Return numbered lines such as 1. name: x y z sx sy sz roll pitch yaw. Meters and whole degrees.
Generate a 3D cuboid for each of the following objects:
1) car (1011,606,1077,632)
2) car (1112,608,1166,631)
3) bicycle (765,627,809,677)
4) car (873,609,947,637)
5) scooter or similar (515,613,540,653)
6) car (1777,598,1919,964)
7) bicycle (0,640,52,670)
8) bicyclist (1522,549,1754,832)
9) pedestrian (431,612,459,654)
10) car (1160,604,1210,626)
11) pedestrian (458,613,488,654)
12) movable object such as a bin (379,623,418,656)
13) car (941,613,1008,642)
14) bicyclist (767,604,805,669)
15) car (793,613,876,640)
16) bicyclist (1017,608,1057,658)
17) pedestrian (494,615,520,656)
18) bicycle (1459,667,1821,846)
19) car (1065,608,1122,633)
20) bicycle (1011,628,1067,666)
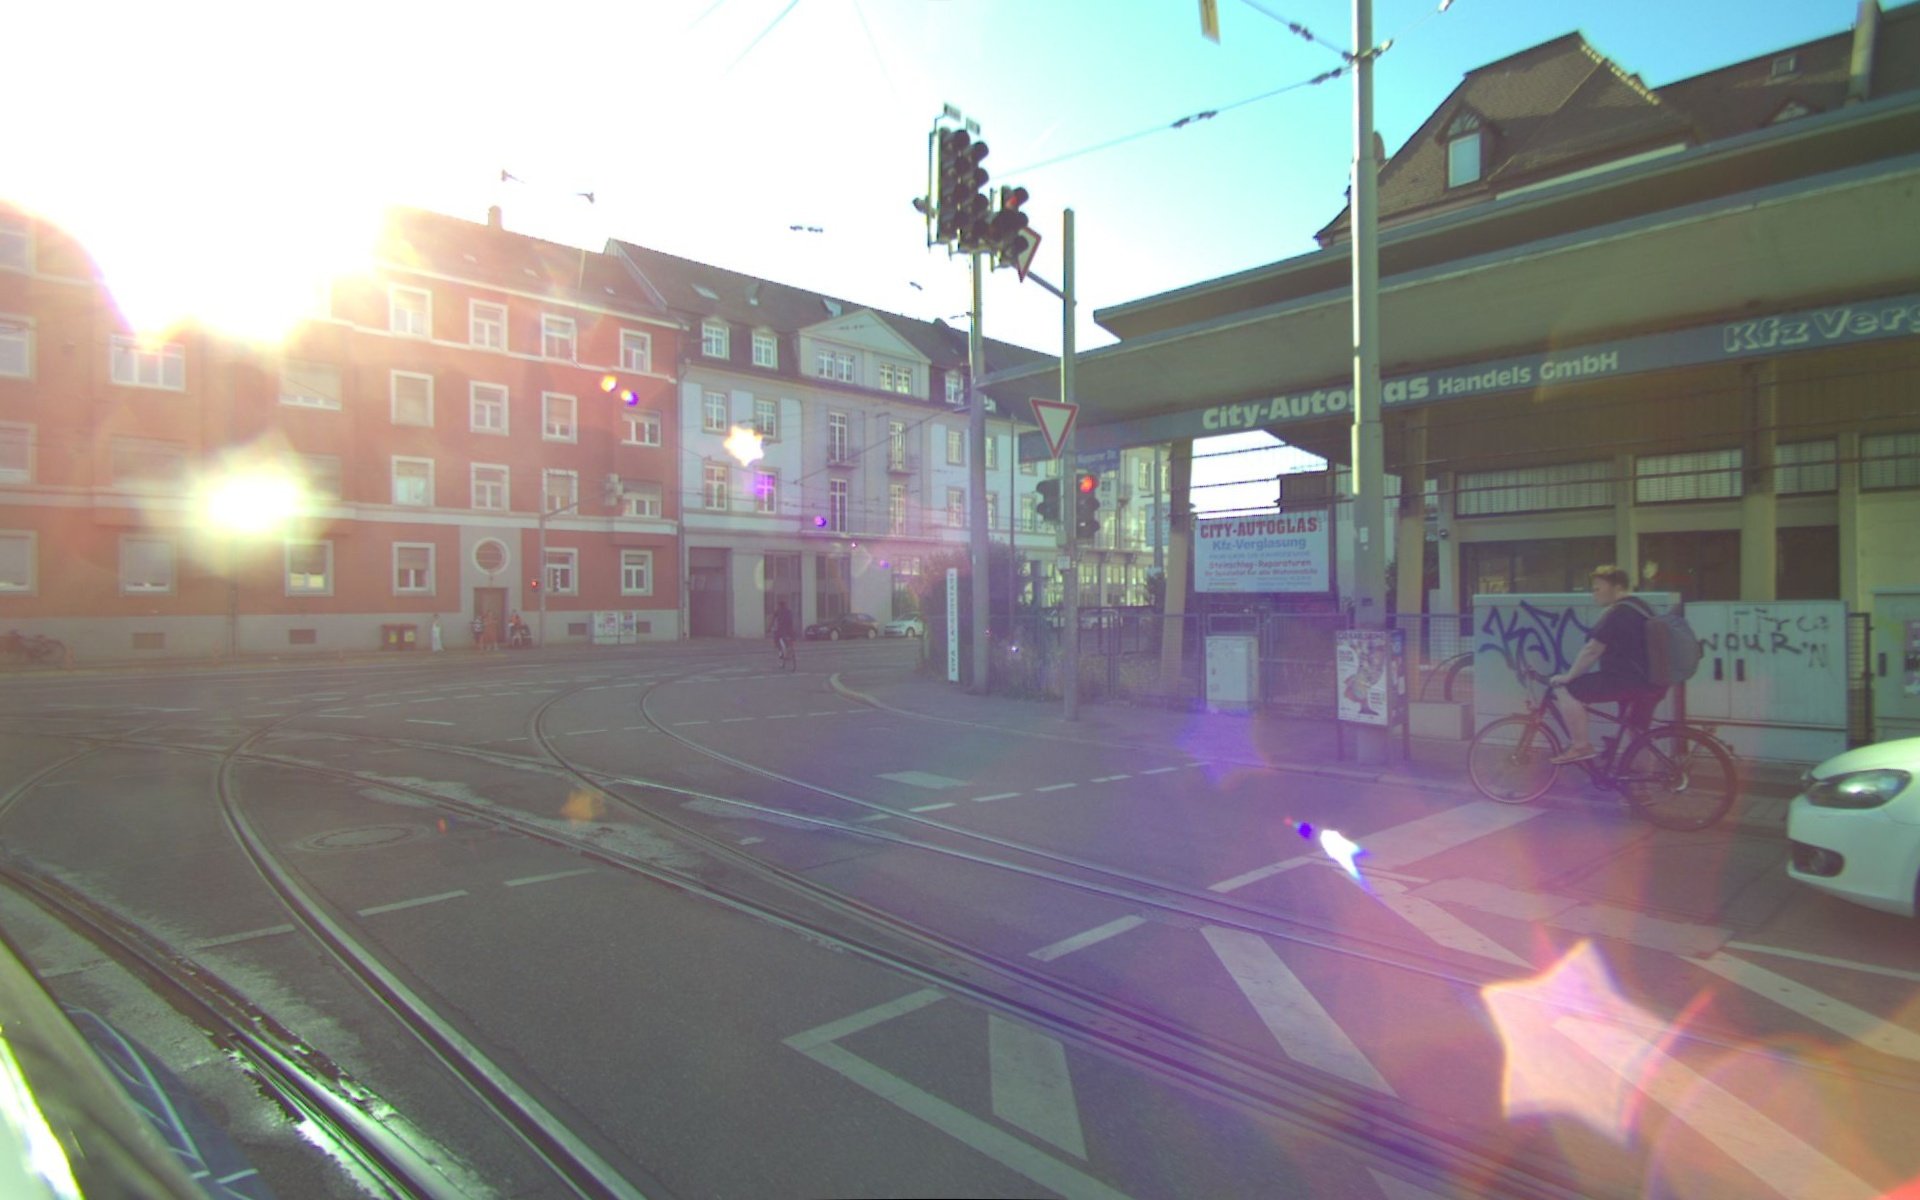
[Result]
1. car: 5.314 1.187 63.631 1.842 1.564 4.211 -2 -1 45
2. car: 12.514 1.359 70.662 1.725 1.564 3.942 -2 -1 45
3. bicycle: -4.284 1.260 24.901 0.881 1.134 2.071 0 0 -15
4. car: -2.714 1.229 55.318 1.725 1.463 3.942 -2 -1 45
5. scooter or similar: -18.093 1.360 42.361 0.648 1.645 0.792 -1 -1 13
6. car: 5.649 0.722 3.520 1.770 1.469 4.193 2 -2 -44
7. bicycle: -29.520 1.719 31.702 1.579 0.897 0.336 0 -1 -41
8. bicyclist: 4.830 0.588 7.219 1.252 1.800 0.899 -1 -1 41
9. pedestrian: -20.447 1.297 40.175 0.790 1.645 0.649 -1 -1 23
10. car: 16.660 1.083 74.821 1.725 1.564 3.942 -2 -1 45
11. pedestrian: -19.719 1.359 40.975 0.821 1.645 0.794 -1 -1 7
12. movable object such as a bin: -21.843 1.524 39.377 1.214 1.259 0.875 0 -1 -39
13. car: 0.844 1.585 58.658 1.726 1.564 3.800 -2 -1 45
14. bicyclist: -4.279 0.890 24.853 0.865 1.538 1.053 -1 -1 -11
15. car: -6.302 1.328 51.119 1.725 1.242 3.942 -2 -1 45
16. bicyclist: 2.407 1.006 31.562 0.836 1.536 0.980 -1 -1 43
17. pedestrian: -18.835 1.469 42.063 0.648 1.645 0.792 -1 -1 13
18. bicycle: 4.813 1.040 7.297 0.717 1.025 2.050 0 -1 -44
19. car: 8.866 1.360 67.240 1.725 1.564 3.942 -2 -1 45
20. bicycle: 2.487 1.447 31.636 0.773 1.094 1.844 -1 -1 43
